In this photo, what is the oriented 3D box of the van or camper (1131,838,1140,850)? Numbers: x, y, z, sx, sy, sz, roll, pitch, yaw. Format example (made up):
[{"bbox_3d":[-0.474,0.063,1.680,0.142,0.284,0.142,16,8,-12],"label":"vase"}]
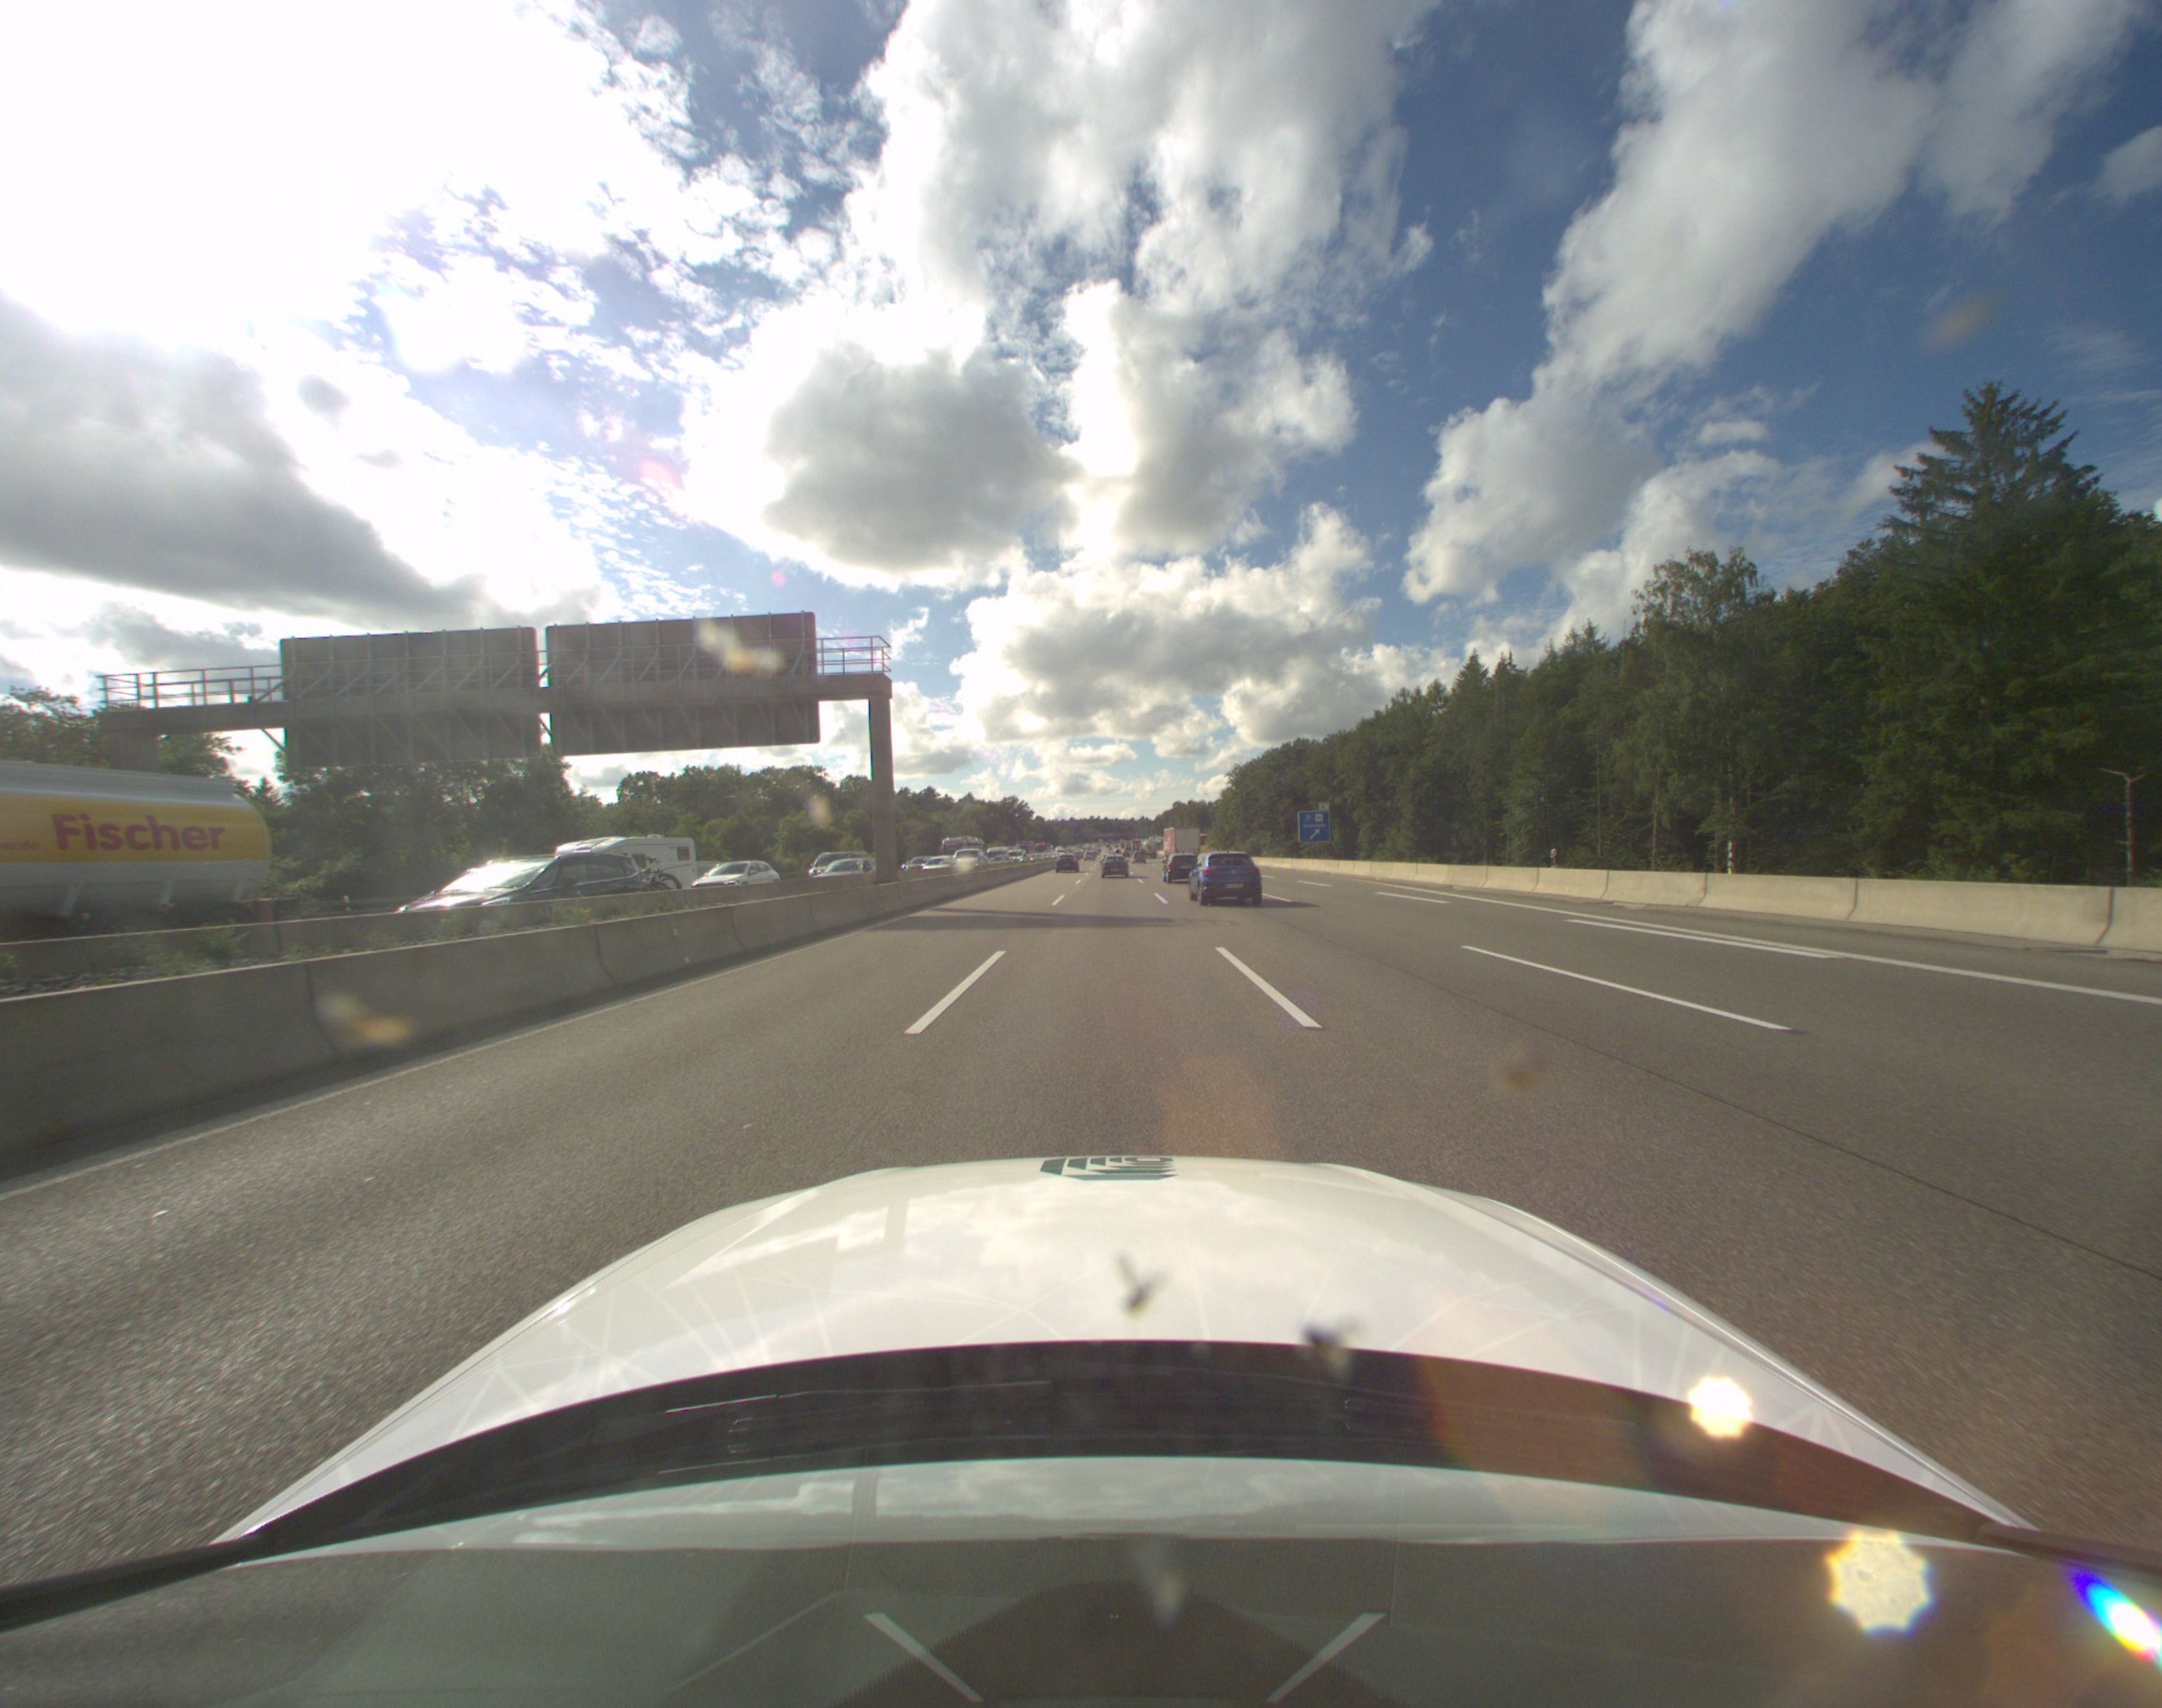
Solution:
[{"bbox_3d":[14.969,-2.624,224.603,2.342,3.144,5.715,-1,-1,3],"label":"van or camper"}]

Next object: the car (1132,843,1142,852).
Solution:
[{"bbox_3d":[13.167,-1.544,191.421,1.986,2.014,4.001,-1,-1,2],"label":"car"}]

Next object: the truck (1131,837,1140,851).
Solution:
[{"bbox_3d":[14.607,-2.670,217.845,2.348,3.572,11.275,-1,-1,3],"label":"truck"}]

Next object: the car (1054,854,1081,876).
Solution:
[{"bbox_3d":[-1.108,0.917,68.807,1.986,1.776,4.002,-1,0,2],"label":"car"}]

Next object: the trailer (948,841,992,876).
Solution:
[{"bbox_3d":[-13.880,0.652,103.250,2.820,3.975,16.010,-1,-1,2],"label":"trailer"}]

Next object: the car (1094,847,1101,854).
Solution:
[{"bbox_3d":[4.395,-0.988,219.015,1.986,2.013,4.002,0,0,2],"label":"car"}]

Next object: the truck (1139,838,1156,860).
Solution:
[{"bbox_3d":[13.316,-0.932,163.292,3.034,4.160,7.130,-1,0,2],"label":"truck"}]

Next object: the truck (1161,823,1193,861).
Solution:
[{"bbox_3d":[10.865,-1.324,92.960,3.069,4.063,6.071,-1,-1,2],"label":"truck"}]

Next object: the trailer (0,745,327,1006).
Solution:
[{"bbox_3d":[-17.556,0.334,10.275,3.399,3.828,13.266,-1,0,2],"label":"trailer"}]

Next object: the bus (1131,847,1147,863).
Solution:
[{"bbox_3d":[7.584,0.158,107.157,1.986,2.014,4.002,-1,-1,2],"label":"bus"}]

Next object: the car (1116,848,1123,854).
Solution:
[{"bbox_3d":[11.632,-0.917,246.577,1.986,2.013,4.002,0,0,2],"label":"car"}]

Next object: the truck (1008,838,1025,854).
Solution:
[{"bbox_3d":[-11.990,-1.518,151.508,2.319,2.801,7.952,0,0,2],"label":"truck"}]

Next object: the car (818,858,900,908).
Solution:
[{"bbox_3d":[-8.728,1.067,32.452,1.760,1.798,4.940,-1,0,2],"label":"car"}]

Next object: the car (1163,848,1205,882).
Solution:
[{"bbox_3d":[5.217,0.530,41.679,1.792,1.644,4.002,0,0,2],"label":"car"}]

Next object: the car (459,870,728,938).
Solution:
[{"bbox_3d":[-8.801,0.840,15.449,1.661,0.927,5.465,-1,0,2],"label":"car"}]

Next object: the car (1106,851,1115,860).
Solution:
[{"bbox_3d":[6.761,0.419,187.800,1.986,2.014,4.001,-2,-1,2],"label":"car"}]

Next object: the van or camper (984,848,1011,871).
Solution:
[{"bbox_3d":[-10.178,0.753,100.033,2.381,2.711,6.635,-1,-1,2],"label":"van or camper"}]

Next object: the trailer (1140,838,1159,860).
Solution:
[{"bbox_3d":[13.181,-0.897,157.772,3.025,4.016,12.248,-1,0,1],"label":"trailer"}]

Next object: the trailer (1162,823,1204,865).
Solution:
[{"bbox_3d":[10.626,-0.861,86.014,3.027,4.035,13.894,-1,-1,2],"label":"trailer"}]

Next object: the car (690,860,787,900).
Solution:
[{"bbox_3d":[-12.639,0.914,30.356,1.557,1.324,4.538,-1,0,2],"label":"car"}]

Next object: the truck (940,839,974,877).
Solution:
[{"bbox_3d":[-14.173,0.477,93.499,2.842,4.234,5.715,0,0,2],"label":"truck"}]

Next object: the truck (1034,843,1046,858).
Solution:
[{"bbox_3d":[-10.625,-0.992,212.924,2.766,3.938,6.854,-1,0,1],"label":"truck"}]

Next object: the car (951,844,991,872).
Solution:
[{"bbox_3d":[-7.512,0.274,56.053,2.078,1.801,4.181,-1,0,2],"label":"car"}]

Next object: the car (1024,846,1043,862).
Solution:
[{"bbox_3d":[-6.349,-0.035,108.608,1.986,2.014,4.412,-2,-1,2],"label":"car"}]

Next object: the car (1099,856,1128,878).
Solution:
[{"bbox_3d":[2.101,0.807,52.449,1.727,1.365,4.002,0,0,2],"label":"car"}]

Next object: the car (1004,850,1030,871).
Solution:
[{"bbox_3d":[-6.613,0.652,84.798,1.986,2.100,5.281,-1,-1,2],"label":"car"}]

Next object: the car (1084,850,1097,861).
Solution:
[{"bbox_3d":[1.702,0.264,143.647,2.146,1.776,4.002,0,0,2],"label":"car"}]

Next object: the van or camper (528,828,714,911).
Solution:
[{"bbox_3d":[-16.367,0.549,29.693,2.316,2.643,7.400,-1,-1,2],"label":"van or camper"}]

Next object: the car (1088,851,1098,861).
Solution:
[{"bbox_3d":[2.700,0.483,179.677,1.986,2.014,4.001,-1,-1,2],"label":"car"}]

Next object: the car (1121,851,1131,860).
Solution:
[{"bbox_3d":[9.572,0.294,173.377,1.986,2.013,4.001,0,0,2],"label":"car"}]

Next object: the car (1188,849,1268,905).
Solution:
[{"bbox_3d":[4.393,0.670,24.907,1.915,1.541,4.650,0,-1,4],"label":"car"}]

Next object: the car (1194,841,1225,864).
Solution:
[{"bbox_3d":[9.116,-0.094,57.914,1.708,1.511,4.305,-2,0,3],"label":"car"}]
